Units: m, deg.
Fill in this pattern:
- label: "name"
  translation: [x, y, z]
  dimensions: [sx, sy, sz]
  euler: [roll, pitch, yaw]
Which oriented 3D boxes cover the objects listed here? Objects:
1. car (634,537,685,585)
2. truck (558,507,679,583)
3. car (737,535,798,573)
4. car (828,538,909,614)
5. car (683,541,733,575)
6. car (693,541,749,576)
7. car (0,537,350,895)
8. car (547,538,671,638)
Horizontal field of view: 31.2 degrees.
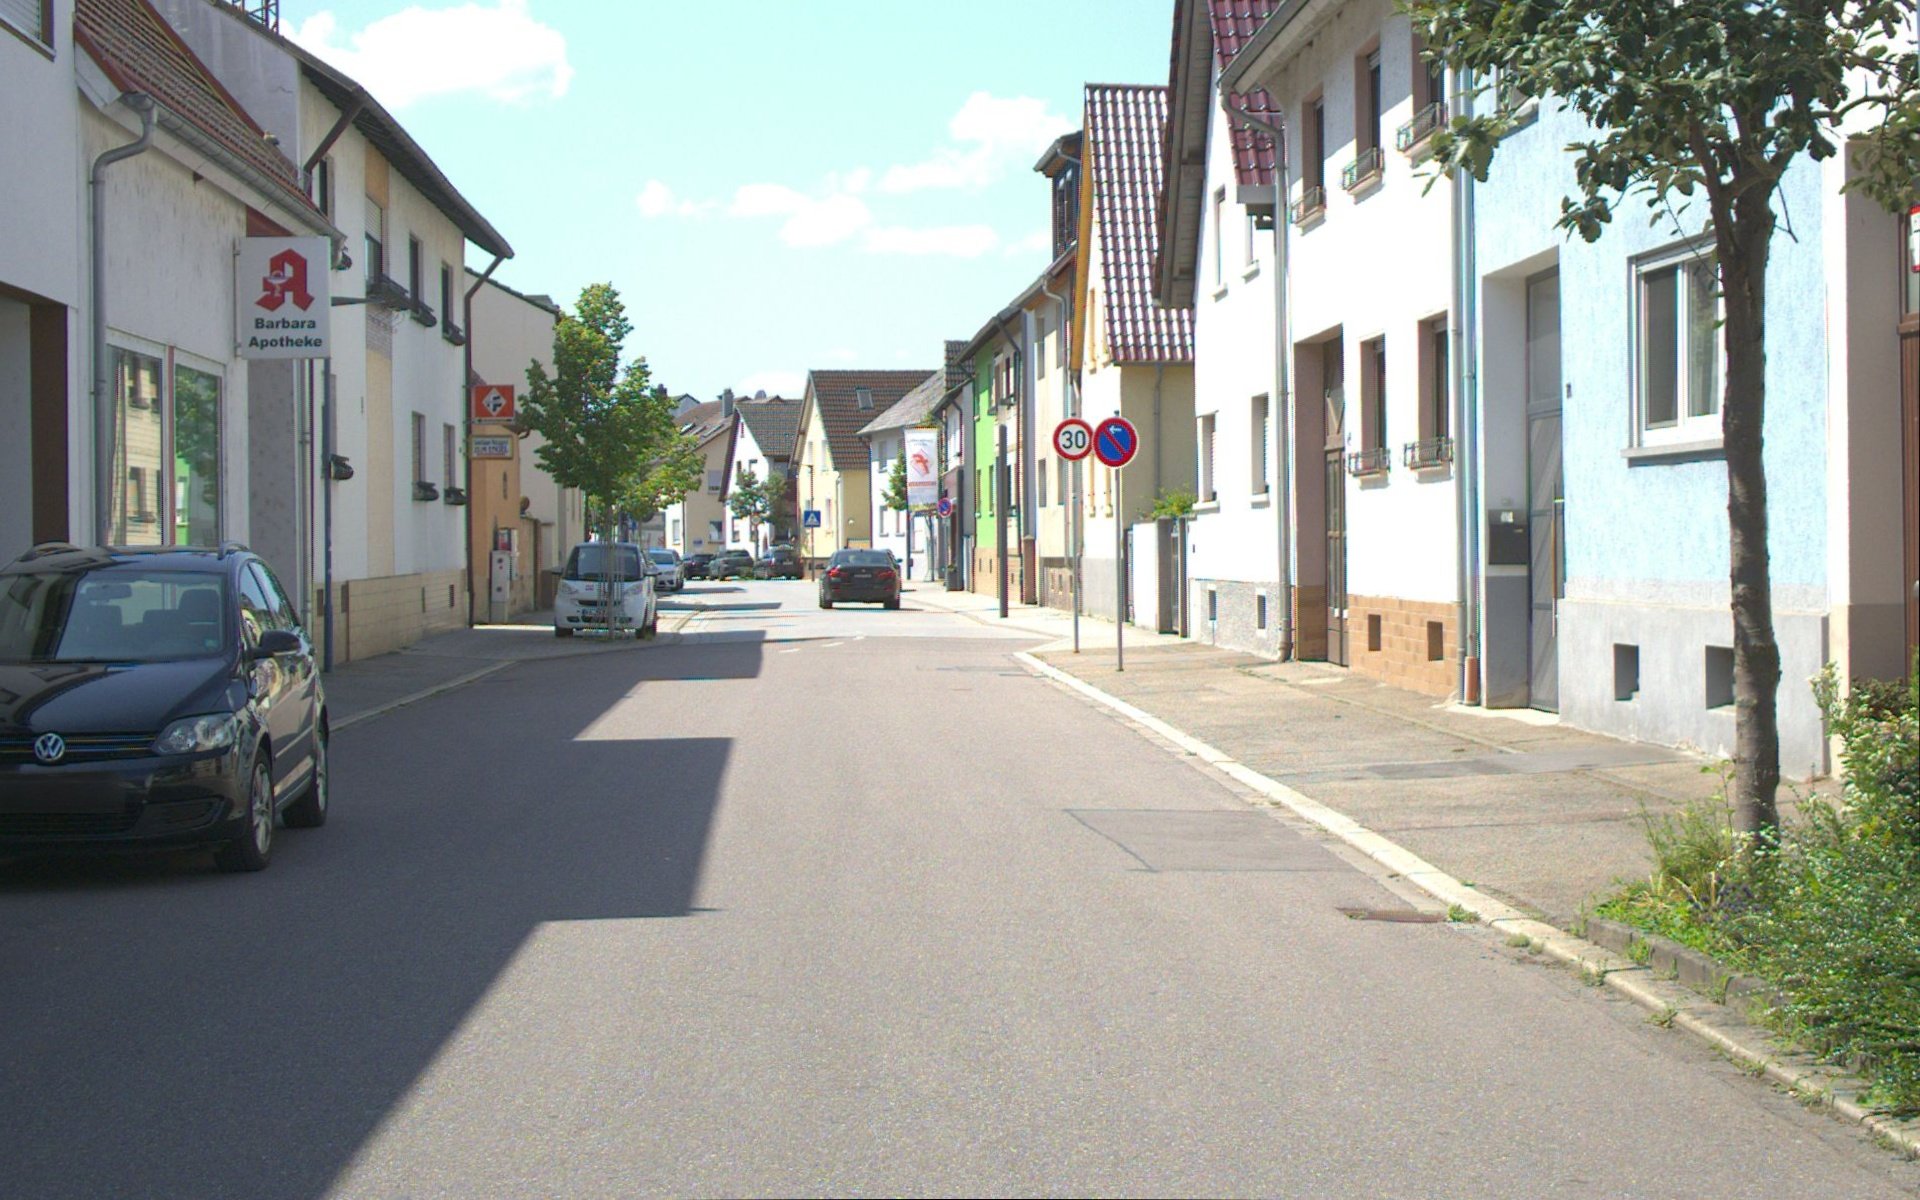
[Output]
- label: "car"
  translation: [-11.007, -1.433, 125.723]
  dimensions: [1.734, 1.681, 4.233]
  euler: [1, 1, -6]
- label: "truck"
  translation: [-18.301, -2.861, 183.176]
  dimensions: [3.378, 3.852, 13.930]
  euler: [-1, 1, -18]
- label: "car"
  translation: [-9.170, -2.164, 163.776]
  dimensions: [1.782, 1.747, 4.230]
  euler: [-1, 1, -19]
- label: "car"
  translation: [-2.234, -0.592, 83.249]
  dimensions: [1.782, 1.747, 4.001]
  euler: [-1, 1, -3]
- label: "car"
  translation: [-13.281, -2.205, 180.913]
  dimensions: [1.820, 1.747, 4.230]
  euler: [-1, 1, -15]
- label: "car"
  translation: [-12.053, -2.084, 173.197]
  dimensions: [1.820, 1.747, 4.230]
  euler: [-1, 1, -18]
- label: "car"
  translation: [-4.216, 0.493, 17.567]
  dimensions: [1.653, 1.603, 4.061]
  euler: [-1, 1, -3]
- label: "car"
  translation: [-5.747, -0.225, 56.623]
  dimensions: [1.723, 1.550, 4.172]
  euler: [1, 1, -2]
